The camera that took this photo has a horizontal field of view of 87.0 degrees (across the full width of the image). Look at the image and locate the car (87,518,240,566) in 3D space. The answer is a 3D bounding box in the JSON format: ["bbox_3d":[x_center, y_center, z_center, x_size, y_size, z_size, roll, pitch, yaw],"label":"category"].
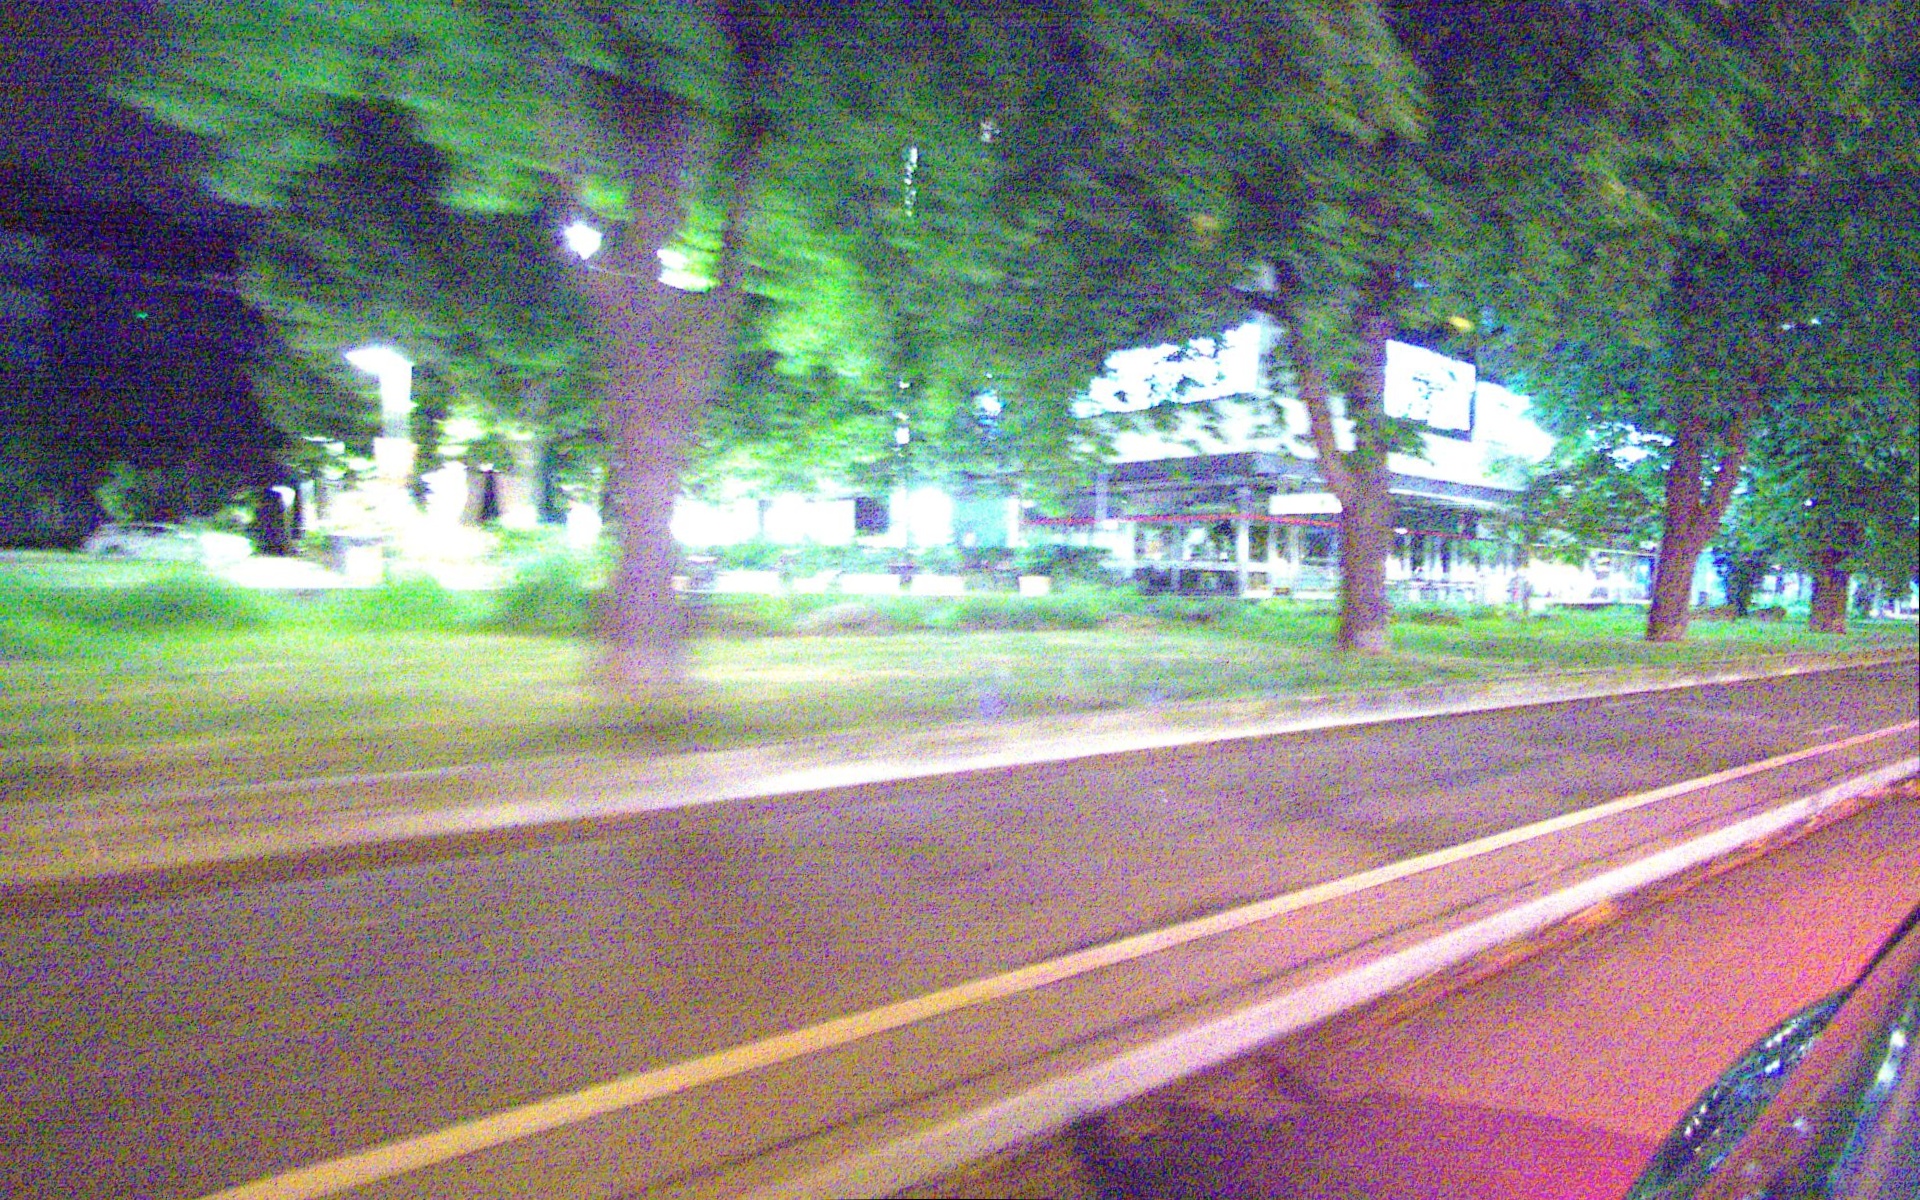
[{"bbox_3d":[-28.636,-2.091,36.570,4.221,1.526,2.000,0,3,-37],"label":"car"}]
